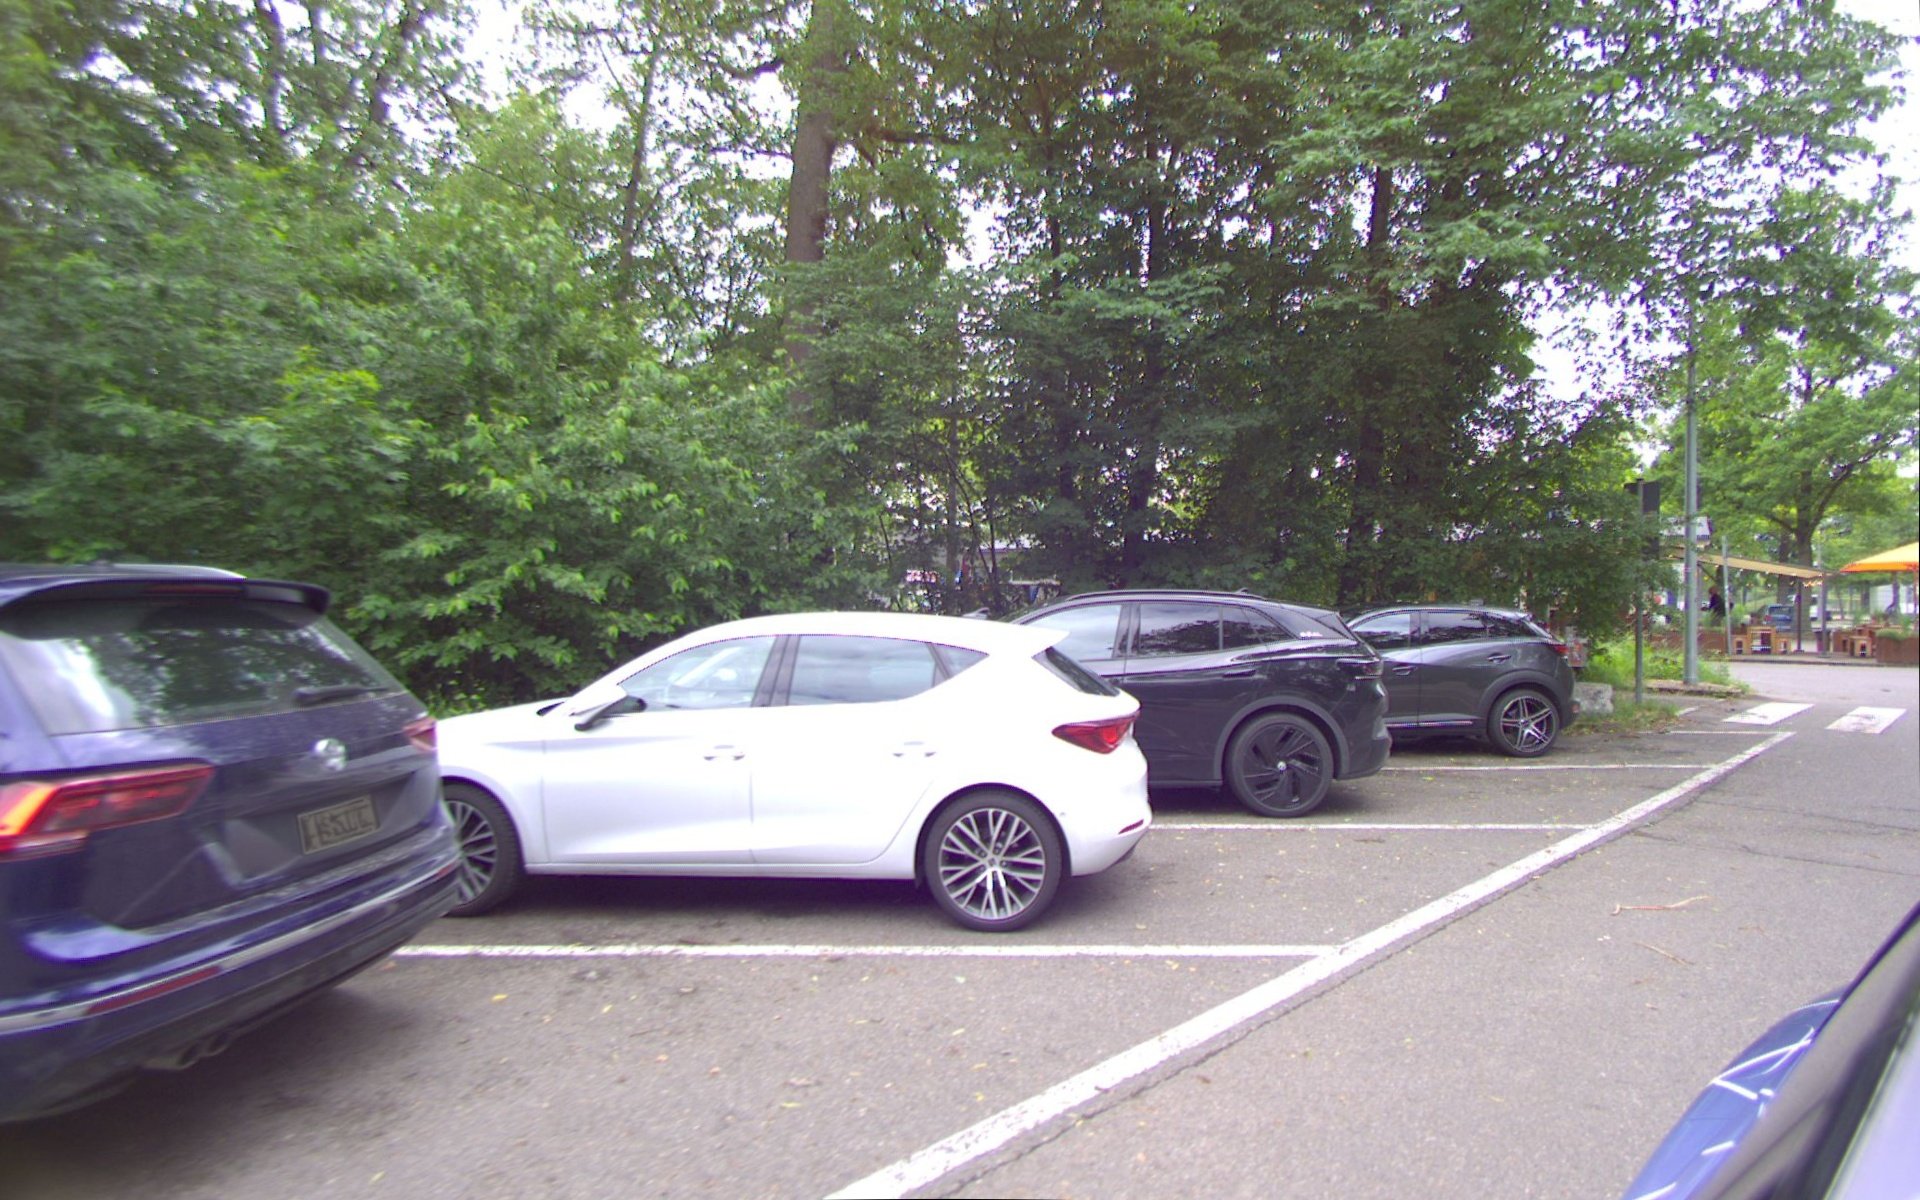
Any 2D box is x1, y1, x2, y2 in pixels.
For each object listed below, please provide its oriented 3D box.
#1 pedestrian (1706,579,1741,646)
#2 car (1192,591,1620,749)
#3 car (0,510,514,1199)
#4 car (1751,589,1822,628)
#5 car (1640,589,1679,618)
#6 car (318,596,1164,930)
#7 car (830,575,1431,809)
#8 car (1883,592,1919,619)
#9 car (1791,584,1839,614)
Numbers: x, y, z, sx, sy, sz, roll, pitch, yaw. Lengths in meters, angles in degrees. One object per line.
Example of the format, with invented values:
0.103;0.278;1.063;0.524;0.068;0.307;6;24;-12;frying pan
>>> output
21.378;0.347;28.331;0.746;1.854;0.700;-1;-1;40;pedestrian
4.485;0.682;10.638;3.722;1.511;1.698;0;0;3;car
-3.828;0.648;3.245;4.049;1.638;1.838;0;0;7;car
35.140;0.354;43.099;1.987;1.571;3.950;0;0;34;car
49.198;0.233;71.259;1.984;2.039;3.955;0;0;31;car
-1.023;0.727;5.613;4.049;1.457;1.866;0;0;7;car
1.177;0.646;7.988;4.125;1.600;1.957;0;0;2;car
63.888;0.368;68.088;1.862;1.802;4.248;0;0;31;car
59.876;-0.065;70.949;1.862;2.065;4.539;0;0;31;car
